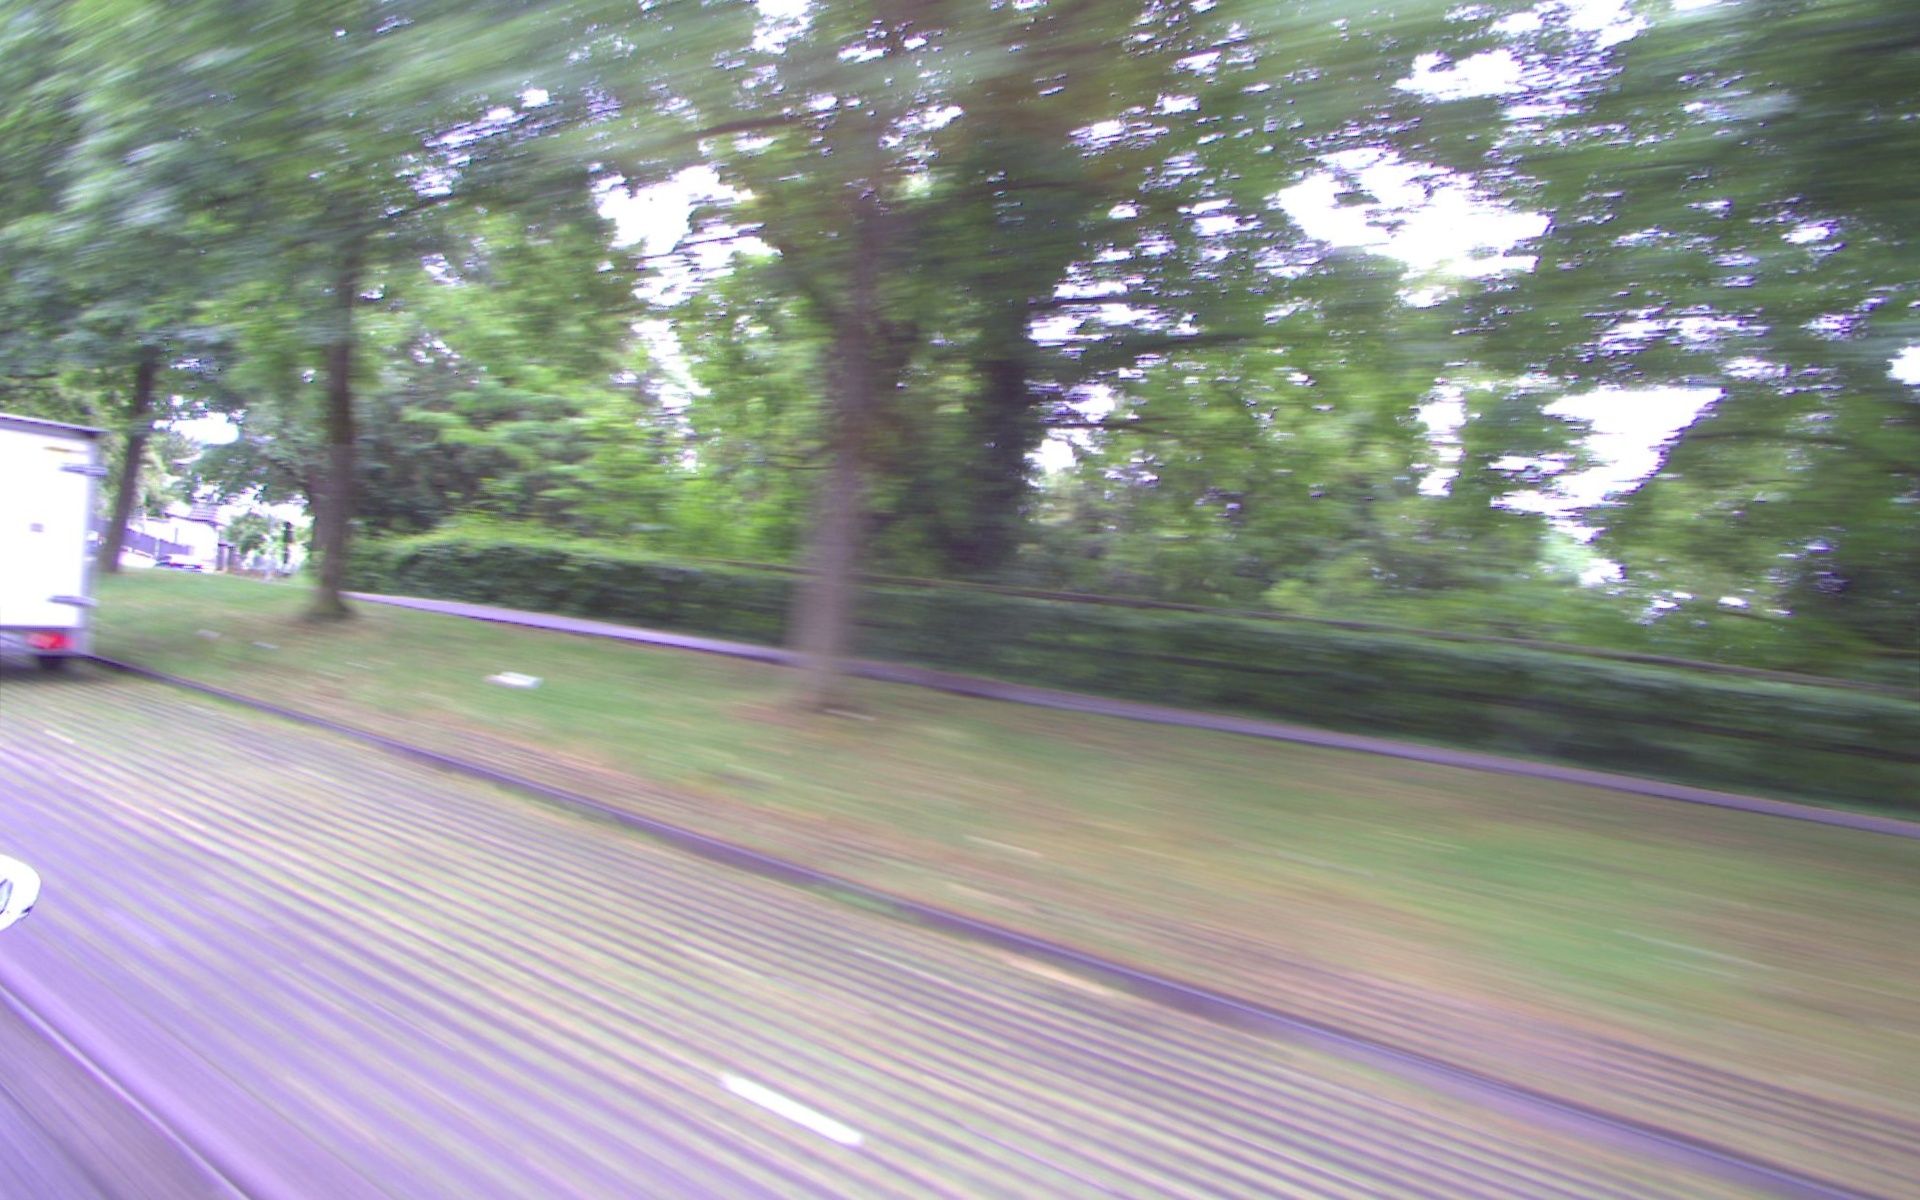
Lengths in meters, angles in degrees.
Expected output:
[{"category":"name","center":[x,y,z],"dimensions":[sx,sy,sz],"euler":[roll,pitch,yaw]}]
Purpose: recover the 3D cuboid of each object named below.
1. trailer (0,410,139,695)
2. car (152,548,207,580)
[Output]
[{"category":"trailer","center":[-8.730,-0.510,8.507],"dimensions":[3.934,2.102,1.530],"euler":[6,1,32]},{"category":"car","center":[-47.724,-2.224,61.471],"dimensions":[3.944,1.651,1.806],"euler":[4,-1,40]}]
